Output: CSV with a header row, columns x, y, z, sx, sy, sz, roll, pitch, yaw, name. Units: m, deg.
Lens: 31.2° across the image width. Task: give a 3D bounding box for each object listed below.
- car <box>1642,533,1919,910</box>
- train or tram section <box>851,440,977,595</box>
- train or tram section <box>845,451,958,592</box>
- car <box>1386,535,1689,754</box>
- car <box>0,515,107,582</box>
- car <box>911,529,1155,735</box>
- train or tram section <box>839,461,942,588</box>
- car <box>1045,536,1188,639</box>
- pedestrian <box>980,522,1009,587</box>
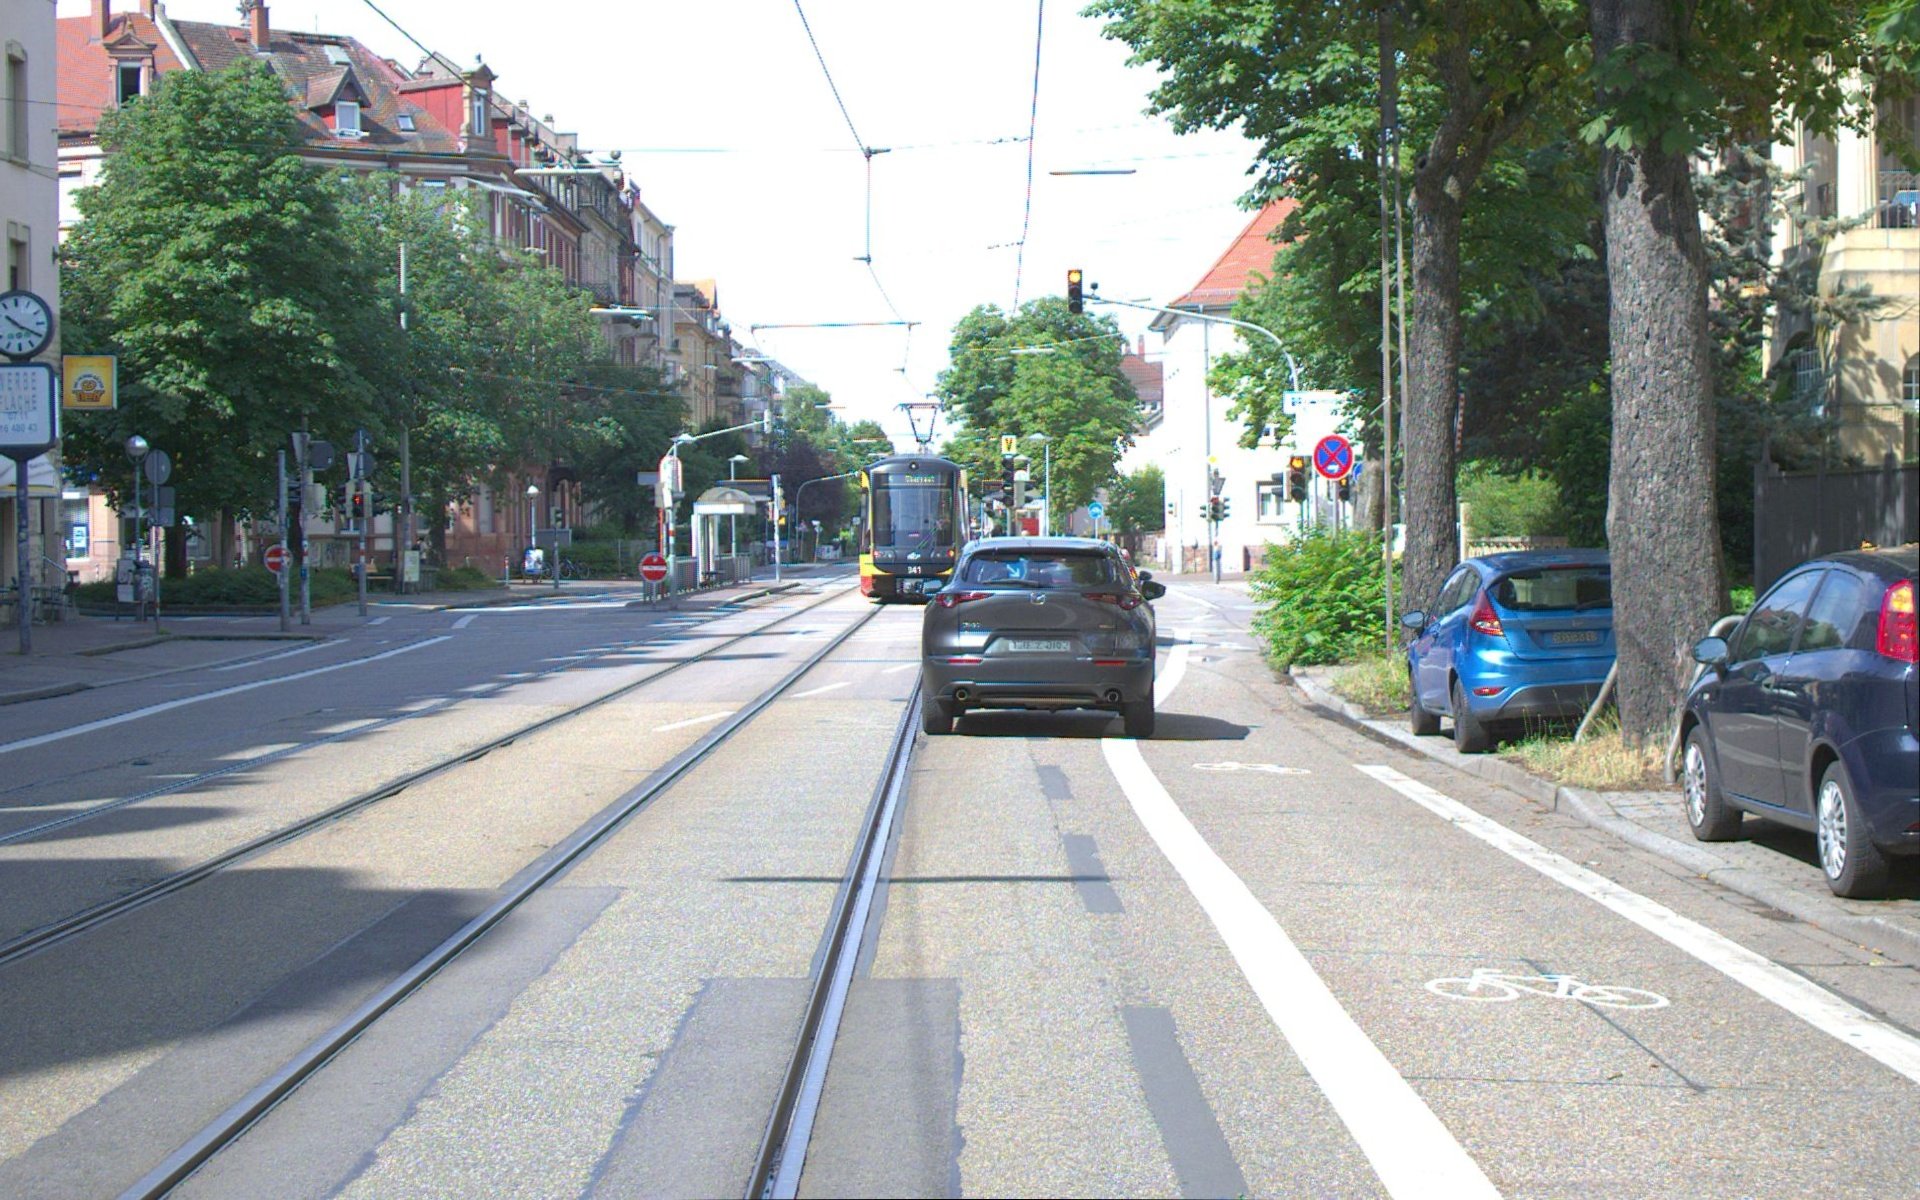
x,y,z,sx,sy,sz,roll,pitch,yaw,name
4.451,0.459,16.002,1.639,1.491,3.758,-2,1,-2,car
-1.203,-1.947,83.620,2.651,3.515,8.498,-2,1,-3,train or tram section
-1.644,-2.060,92.122,2.651,3.515,8.498,-2,1,-3,train or tram section
4.364,0.281,26.492,1.624,1.491,3.848,-3,1,0,car
-31.150,-1.704,115.768,4.121,2.007,1.999,-4,1,10,car
0.508,0.195,27.718,1.789,1.507,4.351,0,1,-1,car
-2.088,-2.167,100.625,2.651,3.515,8.498,-2,1,-3,train or tram section
2.405,-0.236,53.870,1.785,1.487,4.884,-1,1,-2,car
0.856,-1.137,85.855,0.667,1.599,0.700,-1,1,-1,pedestrian
